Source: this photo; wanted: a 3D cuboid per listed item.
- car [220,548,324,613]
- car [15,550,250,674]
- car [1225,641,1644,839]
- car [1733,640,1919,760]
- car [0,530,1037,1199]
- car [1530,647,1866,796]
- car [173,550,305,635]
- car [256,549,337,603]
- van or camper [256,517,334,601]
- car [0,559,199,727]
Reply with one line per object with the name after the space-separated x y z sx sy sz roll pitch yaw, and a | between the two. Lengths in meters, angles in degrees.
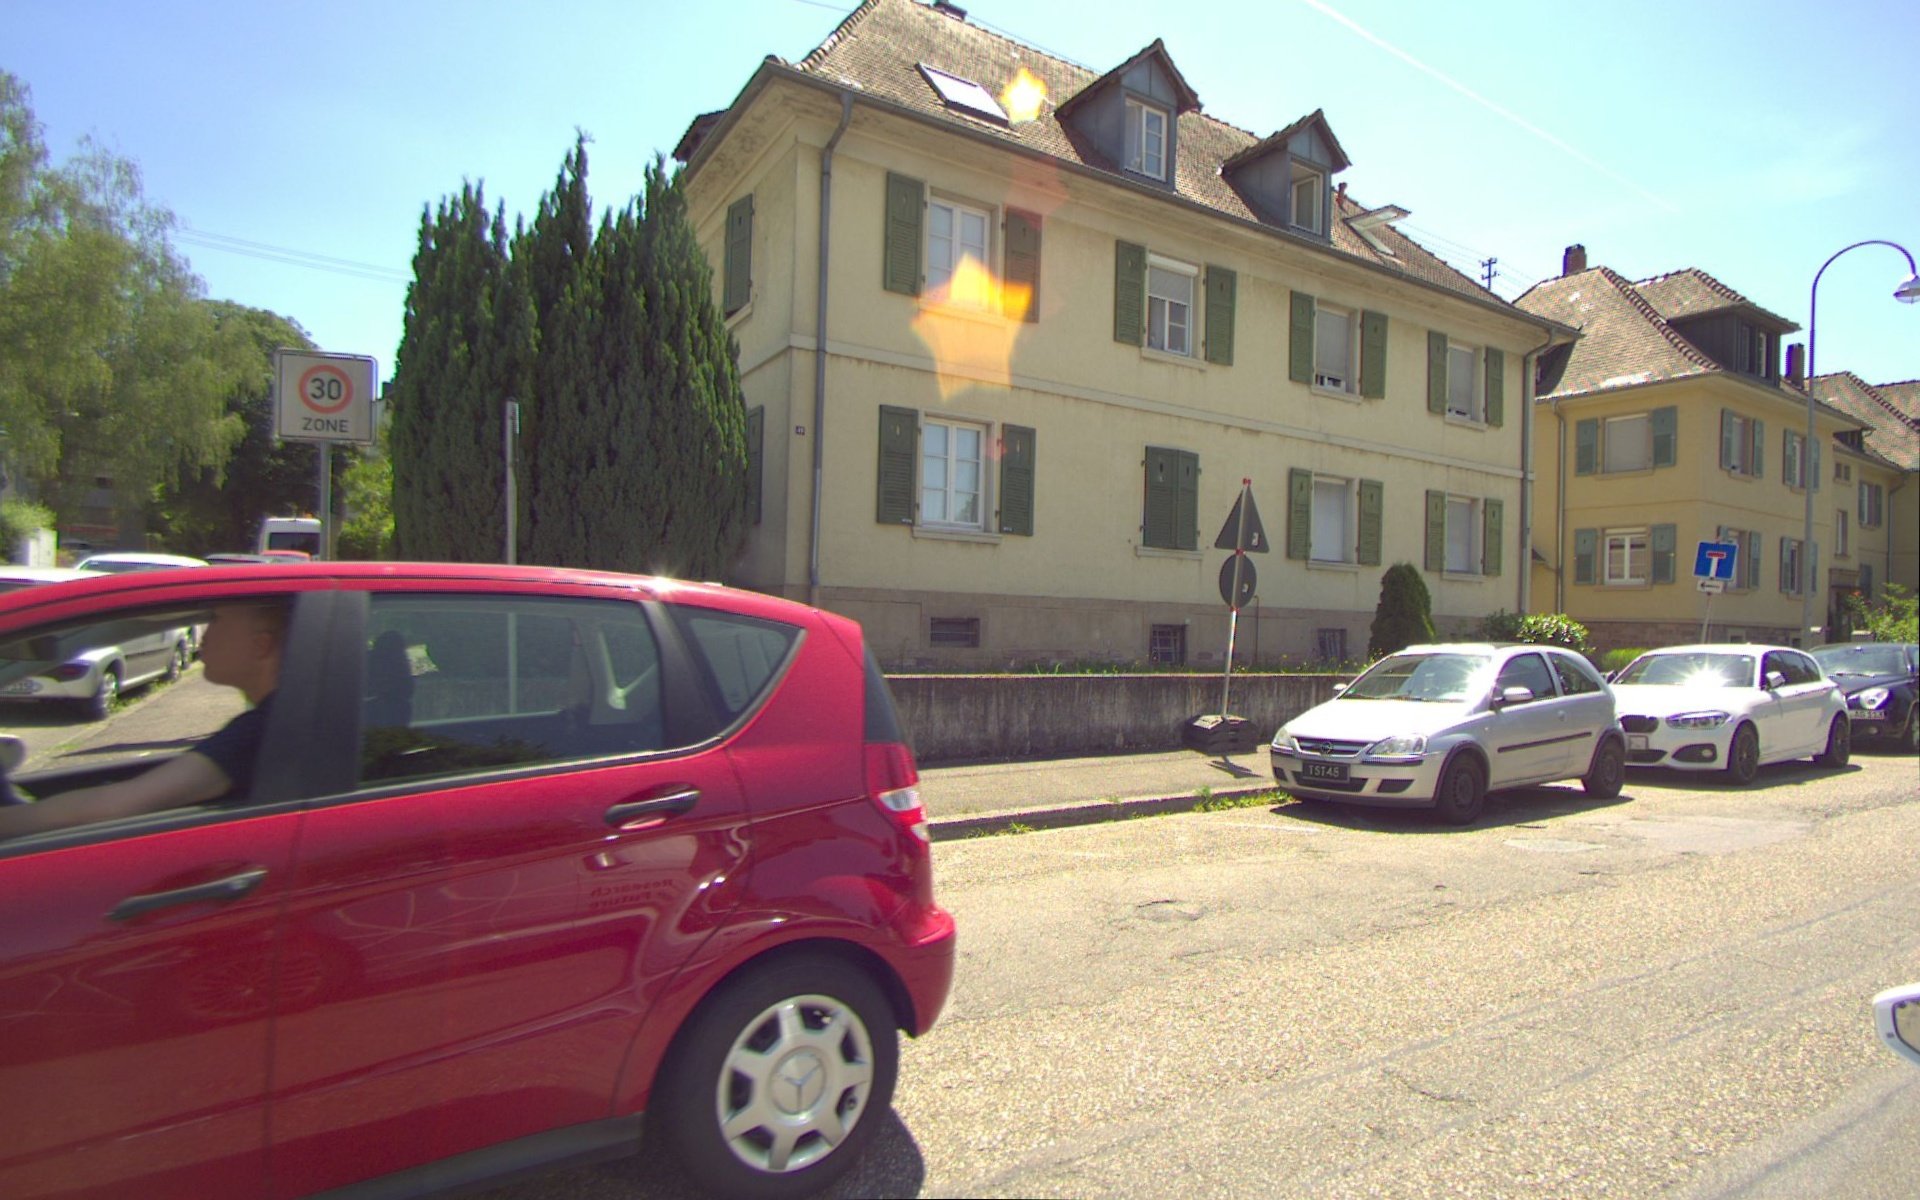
-17.520 -0.544 25.714 1.727 1.476 3.566 3 2 -28 | car
-11.848 0.100 14.658 1.725 1.476 3.570 3 2 -24 | car
4.447 1.122 9.283 3.883 1.466 1.749 2 -3 -33 | car
12.985 1.355 14.493 4.034 1.504 1.705 2 -3 -34 | car
-1.798 0.710 2.638 3.655 1.586 1.805 2 -2 -32 | car
8.576 1.266 11.586 4.174 1.420 1.784 2 -3 -33 | car
-14.666 -0.199 20.585 1.713 1.476 3.189 2 3 -28 | car
-20.291 -0.777 30.828 1.728 1.476 3.564 3 2 -29 | car
-24.221 -1.434 36.487 1.982 2.747 5.312 2 0 -37 | van or camper
-9.862 0.376 11.002 1.711 1.476 3.192 3 2 -24 | car
